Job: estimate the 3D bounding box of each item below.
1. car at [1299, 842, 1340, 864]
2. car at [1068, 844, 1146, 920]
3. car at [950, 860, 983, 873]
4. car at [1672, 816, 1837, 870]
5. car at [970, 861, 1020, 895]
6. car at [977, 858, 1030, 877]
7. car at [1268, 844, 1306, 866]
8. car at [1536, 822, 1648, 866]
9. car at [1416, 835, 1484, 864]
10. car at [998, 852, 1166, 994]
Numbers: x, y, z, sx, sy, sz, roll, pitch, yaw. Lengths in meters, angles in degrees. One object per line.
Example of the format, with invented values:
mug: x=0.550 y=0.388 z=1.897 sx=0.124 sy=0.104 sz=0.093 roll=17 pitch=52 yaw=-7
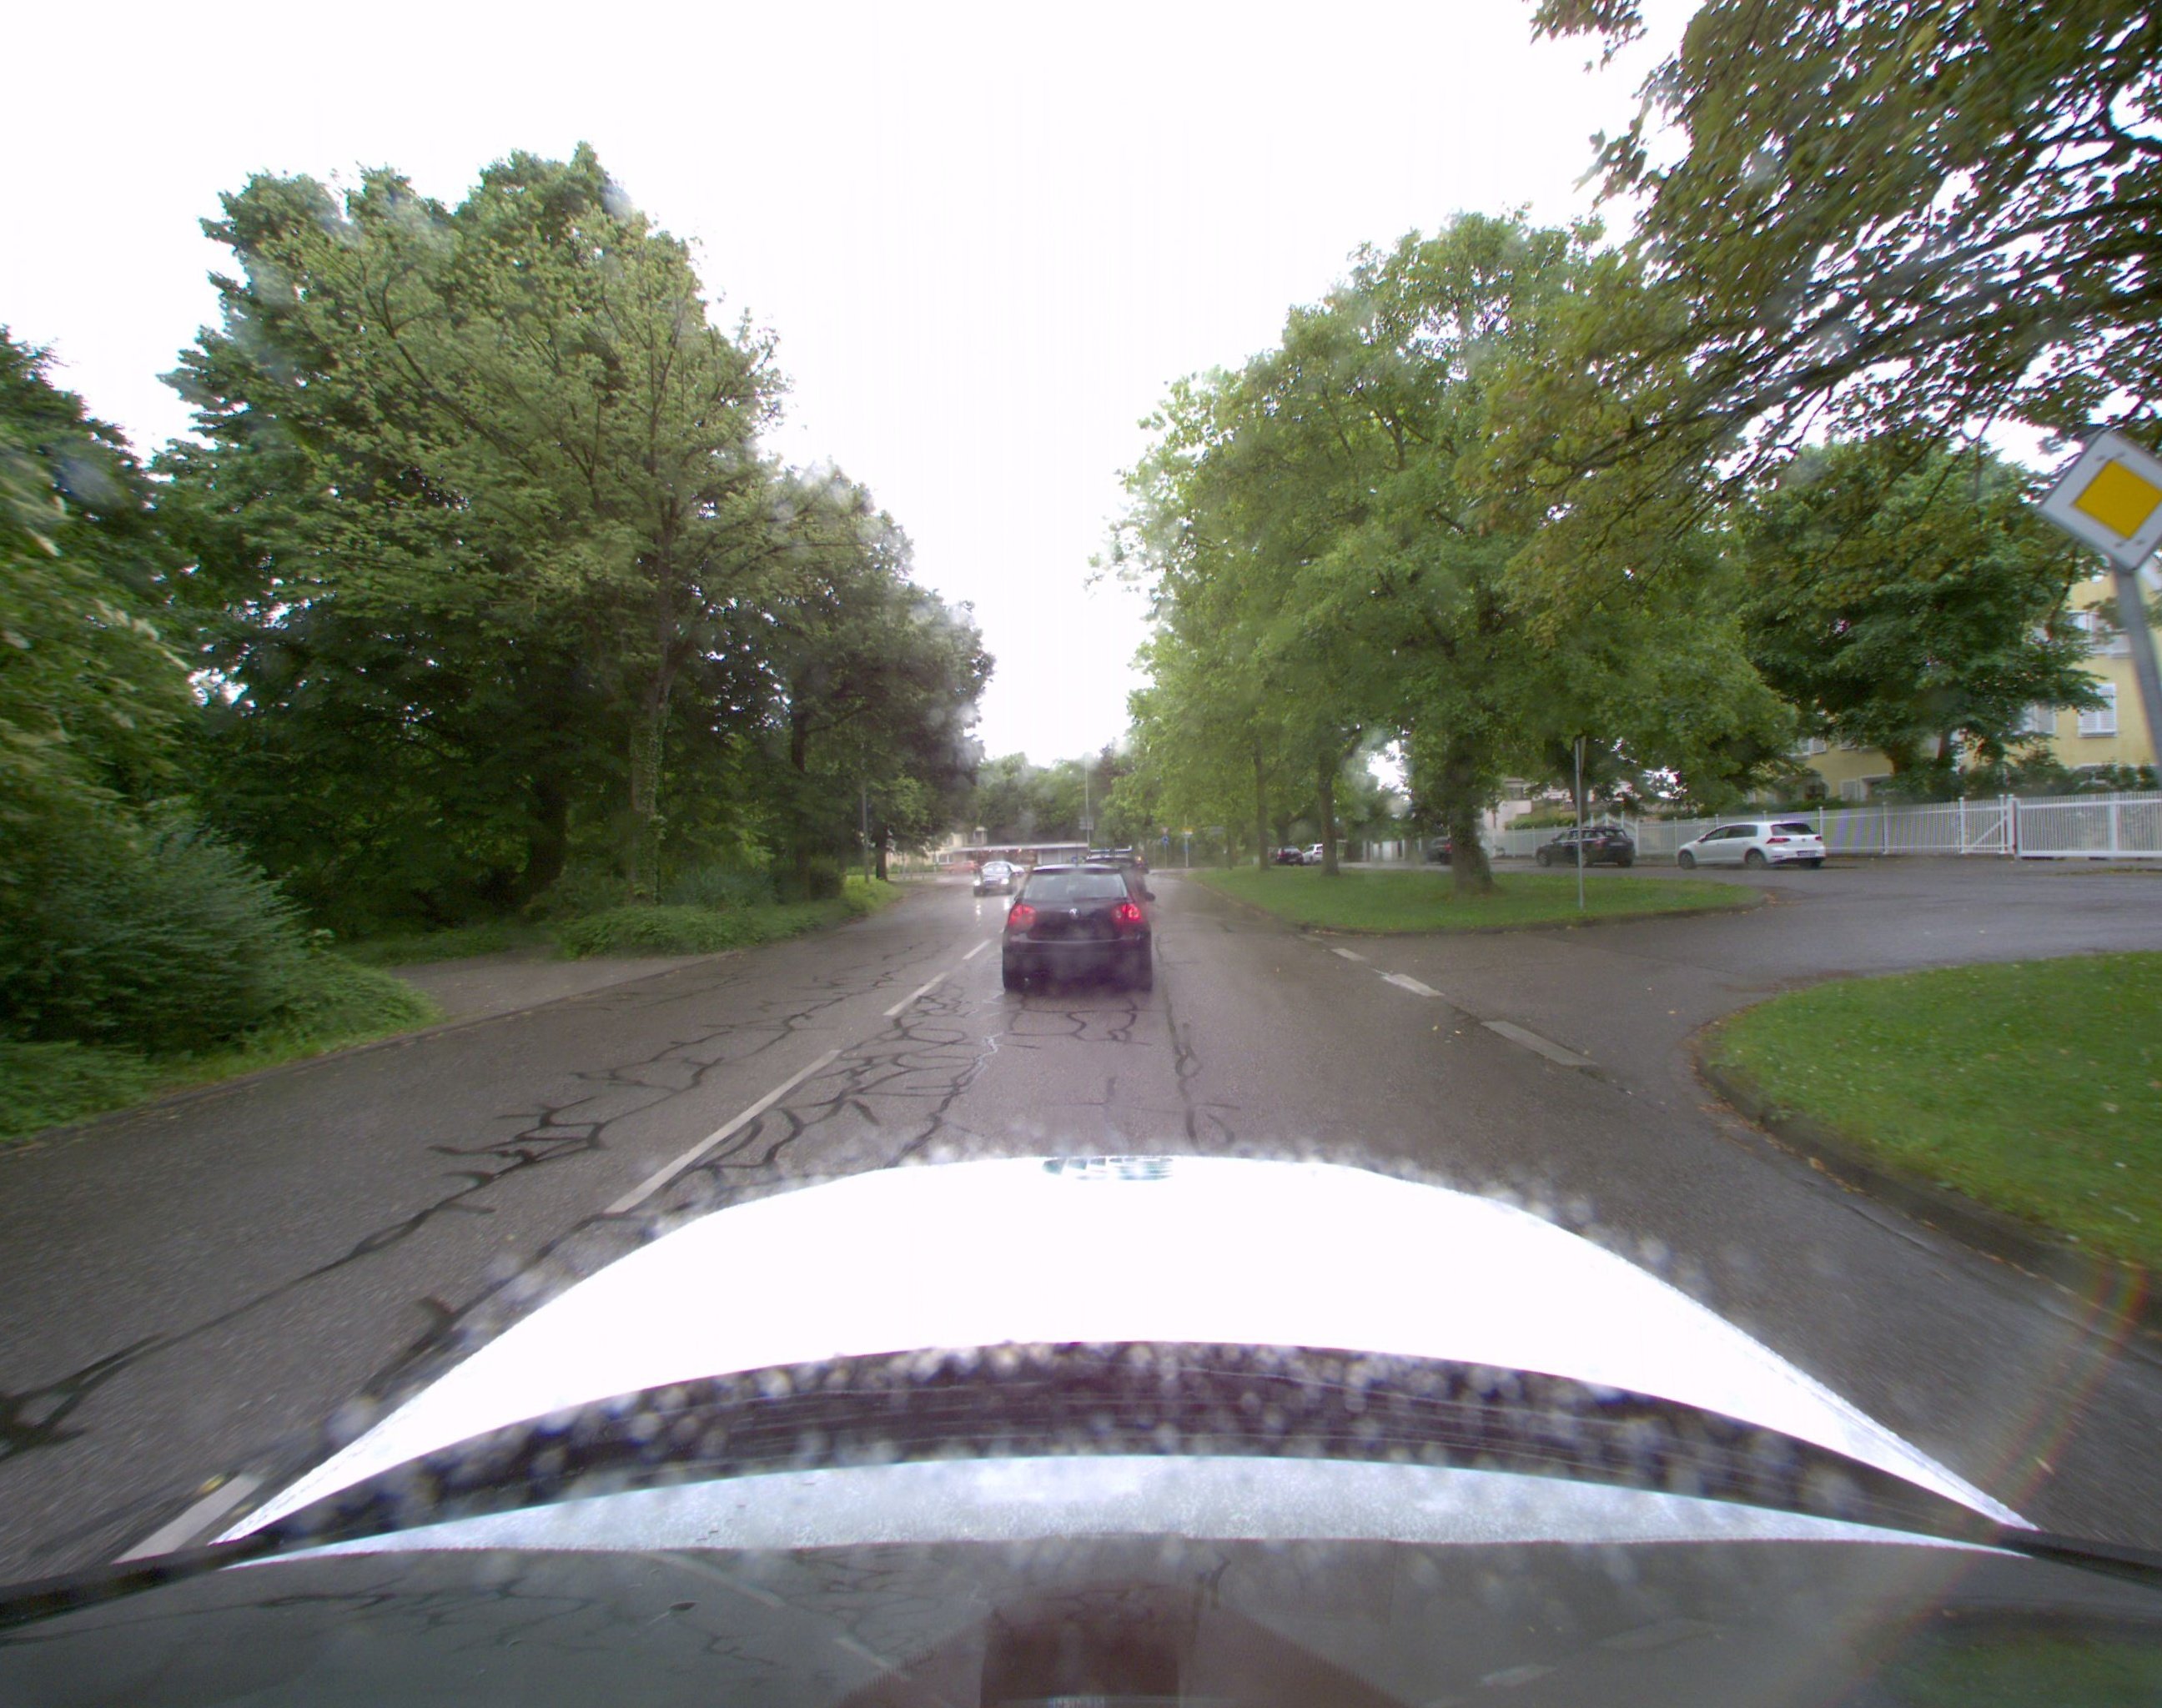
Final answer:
car: x=16.757 y=-0.080 z=57.403 sx=1.796 sy=1.406 sz=4.003 roll=-4 pitch=0 yaw=3
car: x=0.734 y=0.698 z=21.675 sx=1.848 sy=1.785 sz=4.003 roll=-2 pitch=-1 yaw=3
car: x=-14.193 y=1.570 z=101.284 sx=3.639 sy=1.513 sz=1.716 roll=-3 pitch=-1 yaw=9
car: x=20.267 y=-0.324 z=24.762 sx=1.611 sy=1.409 sz=4.008 roll=-3 pitch=0 yaw=-1
car: x=-3.979 y=1.076 z=38.201 sx=1.791 sy=1.393 sz=3.978 roll=-4 pitch=0 yaw=0
car: x=-6.988 y=1.225 z=73.106 sx=4.452 sy=1.419 sz=1.859 roll=-3 pitch=-1 yaw=32
car: x=14.409 y=0.062 z=57.173 sx=1.796 sy=1.385 sz=4.003 roll=-4 pitch=0 yaw=3
car: x=20.035 y=-0.370 z=32.148 sx=1.796 sy=1.529 sz=4.112 roll=-3 pitch=0 yaw=0
car: x=19.979 y=-0.264 z=44.263 sx=1.796 sy=1.411 sz=4.112 roll=-3 pitch=0 yaw=0
car: x=0.108 y=0.747 z=10.675 sx=1.791 sy=1.515 sz=3.756 roll=-1 pitch=0 yaw=3
